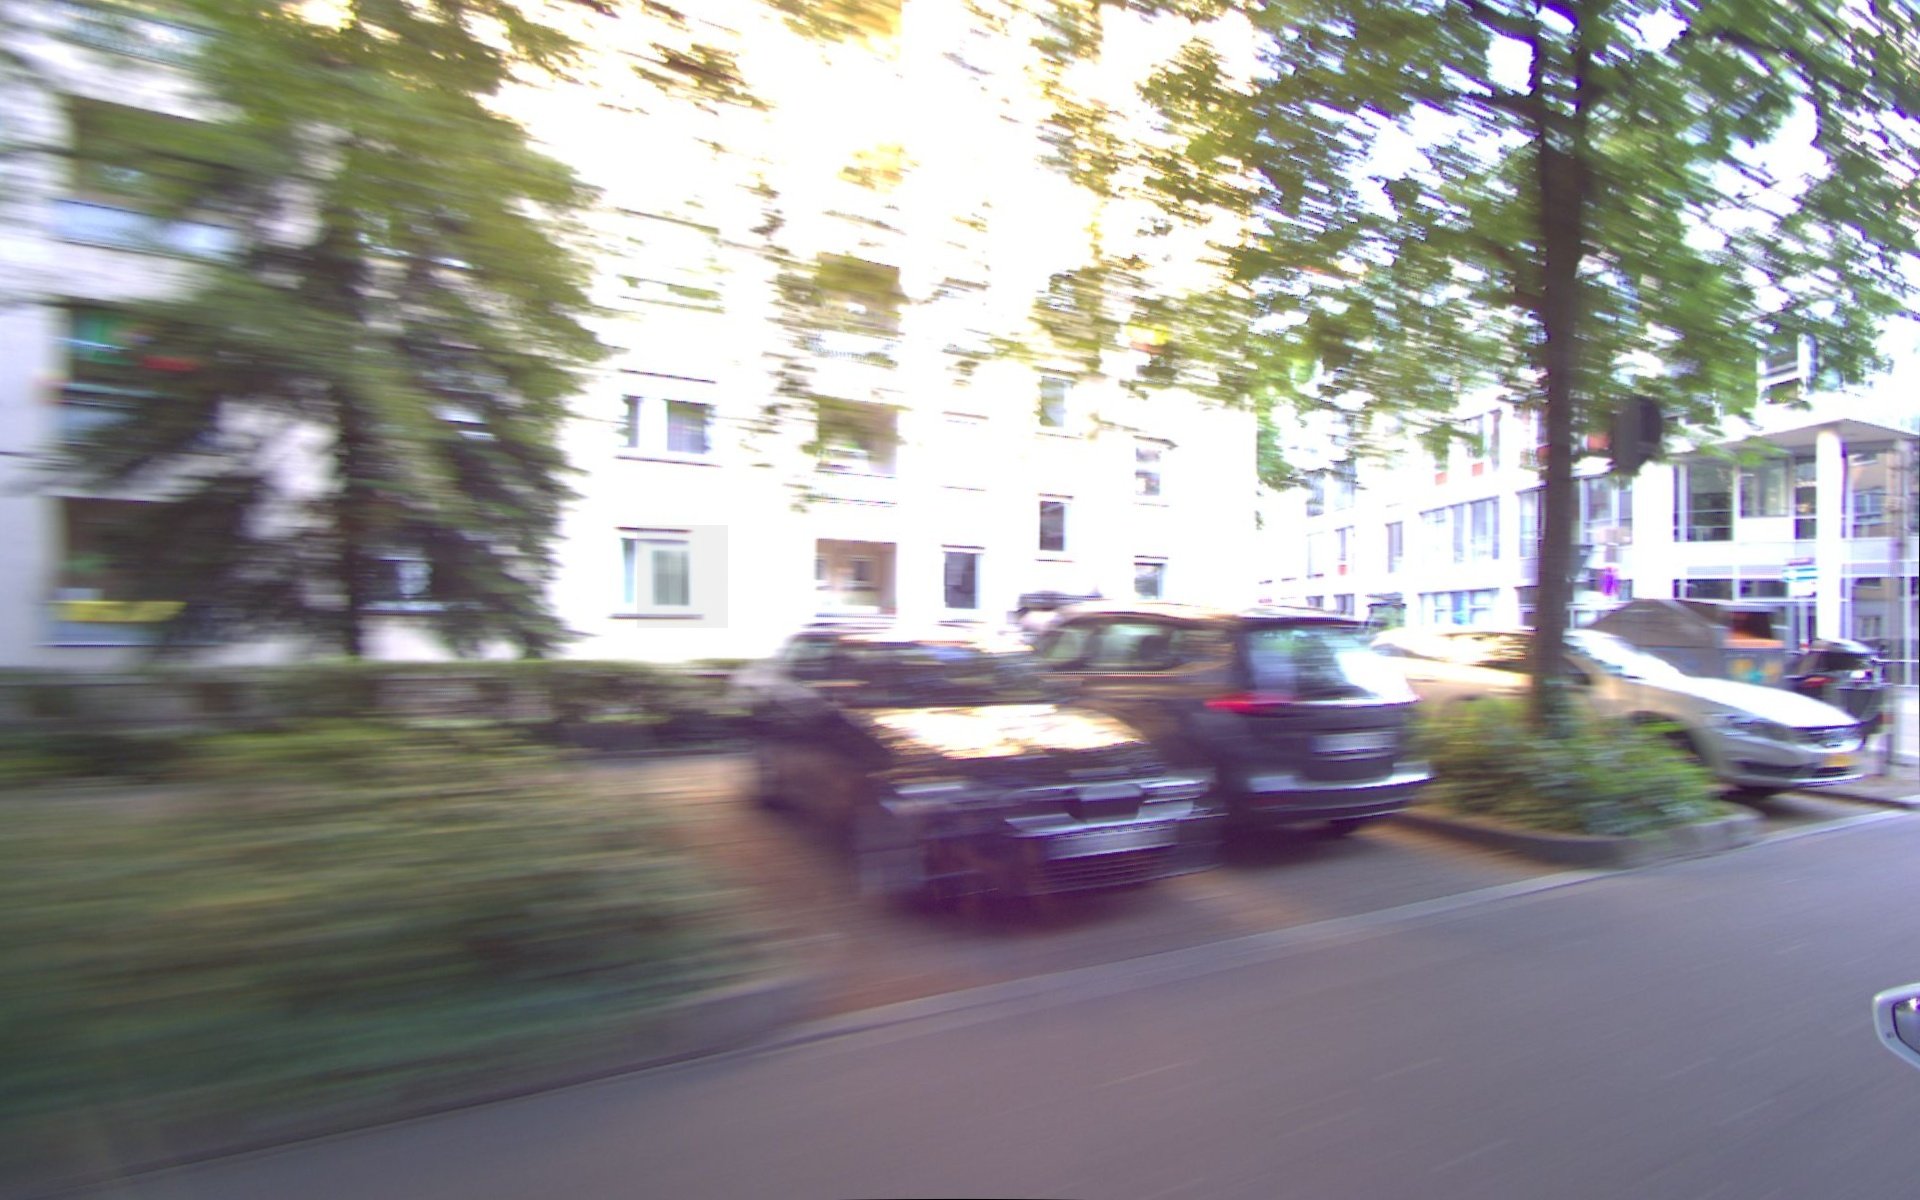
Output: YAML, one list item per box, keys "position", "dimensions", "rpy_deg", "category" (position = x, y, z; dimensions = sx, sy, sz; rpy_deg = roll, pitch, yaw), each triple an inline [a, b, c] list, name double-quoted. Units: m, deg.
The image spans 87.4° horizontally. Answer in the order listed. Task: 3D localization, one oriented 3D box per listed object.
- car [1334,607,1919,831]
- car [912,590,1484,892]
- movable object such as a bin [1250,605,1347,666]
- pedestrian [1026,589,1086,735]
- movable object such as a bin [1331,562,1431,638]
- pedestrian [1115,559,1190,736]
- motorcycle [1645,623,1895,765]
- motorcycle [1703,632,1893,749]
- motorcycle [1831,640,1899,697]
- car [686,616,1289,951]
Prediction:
- position: [6.258, 0.943, 10.064]
  dimensions: [2.029, 1.602, 4.481]
  rpy_deg: [2, 0, -27]
  category: "car"
- position: [1.529, 0.798, 8.108]
  dimensions: [2.040, 1.707, 4.374]
  rpy_deg: [1, 0, -30]
  category: "car"
- position: [15.465, 1.628, 46.236]
  dimensions: [2.132, 2.630, 5.539]
  rpy_deg: [1, -2, -6]
  category: "movable object such as a bin"
- position: [1.073, 0.685, 11.306]
  dimensions: [0.441, 1.592, 0.659]
  rpy_deg: [1, -1, -17]
  category: "pedestrian"
- position: [15.538, 0.063, 37.337]
  dimensions: [1.768, 2.669, 4.109]
  rpy_deg: [0, -2, -4]
  category: "movable object such as a bin"
- position: [2.048, 0.489, 10.664]
  dimensions: [0.685, 1.812, 0.529]
  rpy_deg: [0, -1, 21]
  category: "pedestrian"
- position: [9.440, 1.030, 11.837]
  dimensions: [0.682, 1.513, 2.209]
  rpy_deg: [1, -2, -26]
  category: "motorcycle"
- position: [10.921, 1.122, 13.218]
  dimensions: [0.709, 1.392, 2.225]
  rpy_deg: [1, -2, 2]
  category: "motorcycle"
- position: [22.038, 1.641, 24.455]
  dimensions: [2.100, 1.291, 0.611]
  rpy_deg: [0, -1, -30]
  category: "motorcycle"
- position: [-0.258, 0.864, 6.991]
  dimensions: [2.047, 1.443, 4.693]
  rpy_deg: [1, -1, -30]
  category: "car"
